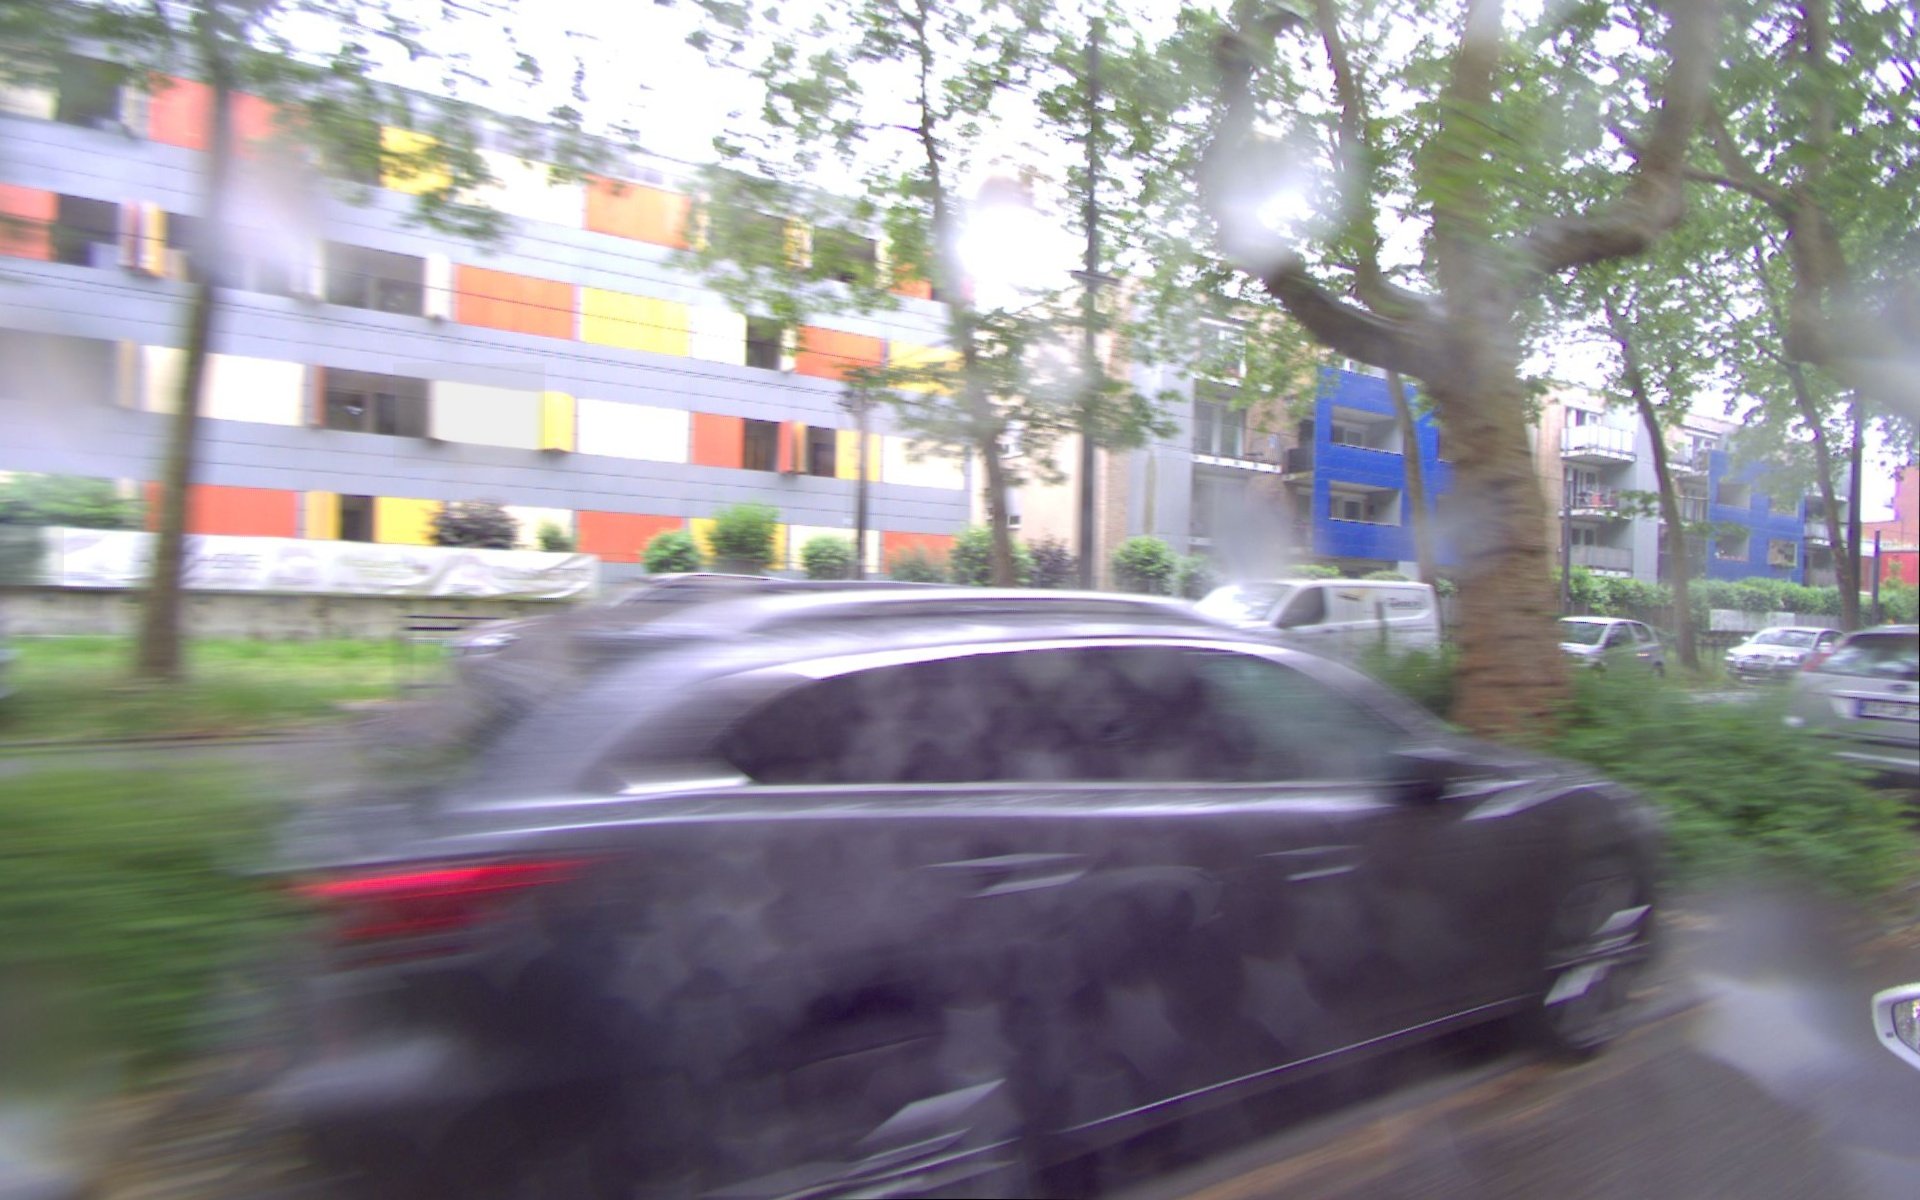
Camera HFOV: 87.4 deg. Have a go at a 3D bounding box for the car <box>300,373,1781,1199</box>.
[{"bbox_3d":[0.581,0.469,3.406,4.567,1.505,1.886,2,2,-30],"label":"car"}]

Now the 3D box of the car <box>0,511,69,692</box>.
[{"bbox_3d":[-10.127,-0.082,7.869,4.335,1.483,1.896,2,1,-29],"label":"car"}]

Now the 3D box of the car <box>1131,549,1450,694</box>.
[{"bbox_3d":[5.551,0.347,16.584,5.378,2.024,2.041,2,2,-34],"label":"car"}]

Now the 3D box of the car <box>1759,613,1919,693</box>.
[{"bbox_3d":[18.791,1.118,21.120,3.955,1.439,1.824,3,1,-32],"label":"car"}]

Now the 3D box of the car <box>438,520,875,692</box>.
[{"bbox_3d":[-3.382,0.104,11.397,4.415,1.622,1.895,2,1,-30],"label":"car"}]

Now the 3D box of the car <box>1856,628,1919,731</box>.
[{"bbox_3d":[14.634,1.175,13.278,1.748,1.454,4.044,2,0,-5],"label":"car"}]

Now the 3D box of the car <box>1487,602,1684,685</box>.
[{"bbox_3d":[13.413,0.920,21.498,4.169,1.554,1.894,2,1,-32],"label":"car"}]

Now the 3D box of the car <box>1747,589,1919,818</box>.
[{"bbox_3d":[8.334,0.793,8.054,4.158,1.535,1.721,2,2,-30],"label":"car"}]

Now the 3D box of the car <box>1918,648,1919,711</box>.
[{"bbox_3d":[16.668,1.113,14.759,1.747,1.455,3.502,2,0,-2],"label":"car"}]

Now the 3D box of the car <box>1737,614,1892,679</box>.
[{"bbox_3d":[23.114,1.249,27.138,4.372,1.554,1.894,2,1,-32],"label":"car"}]
